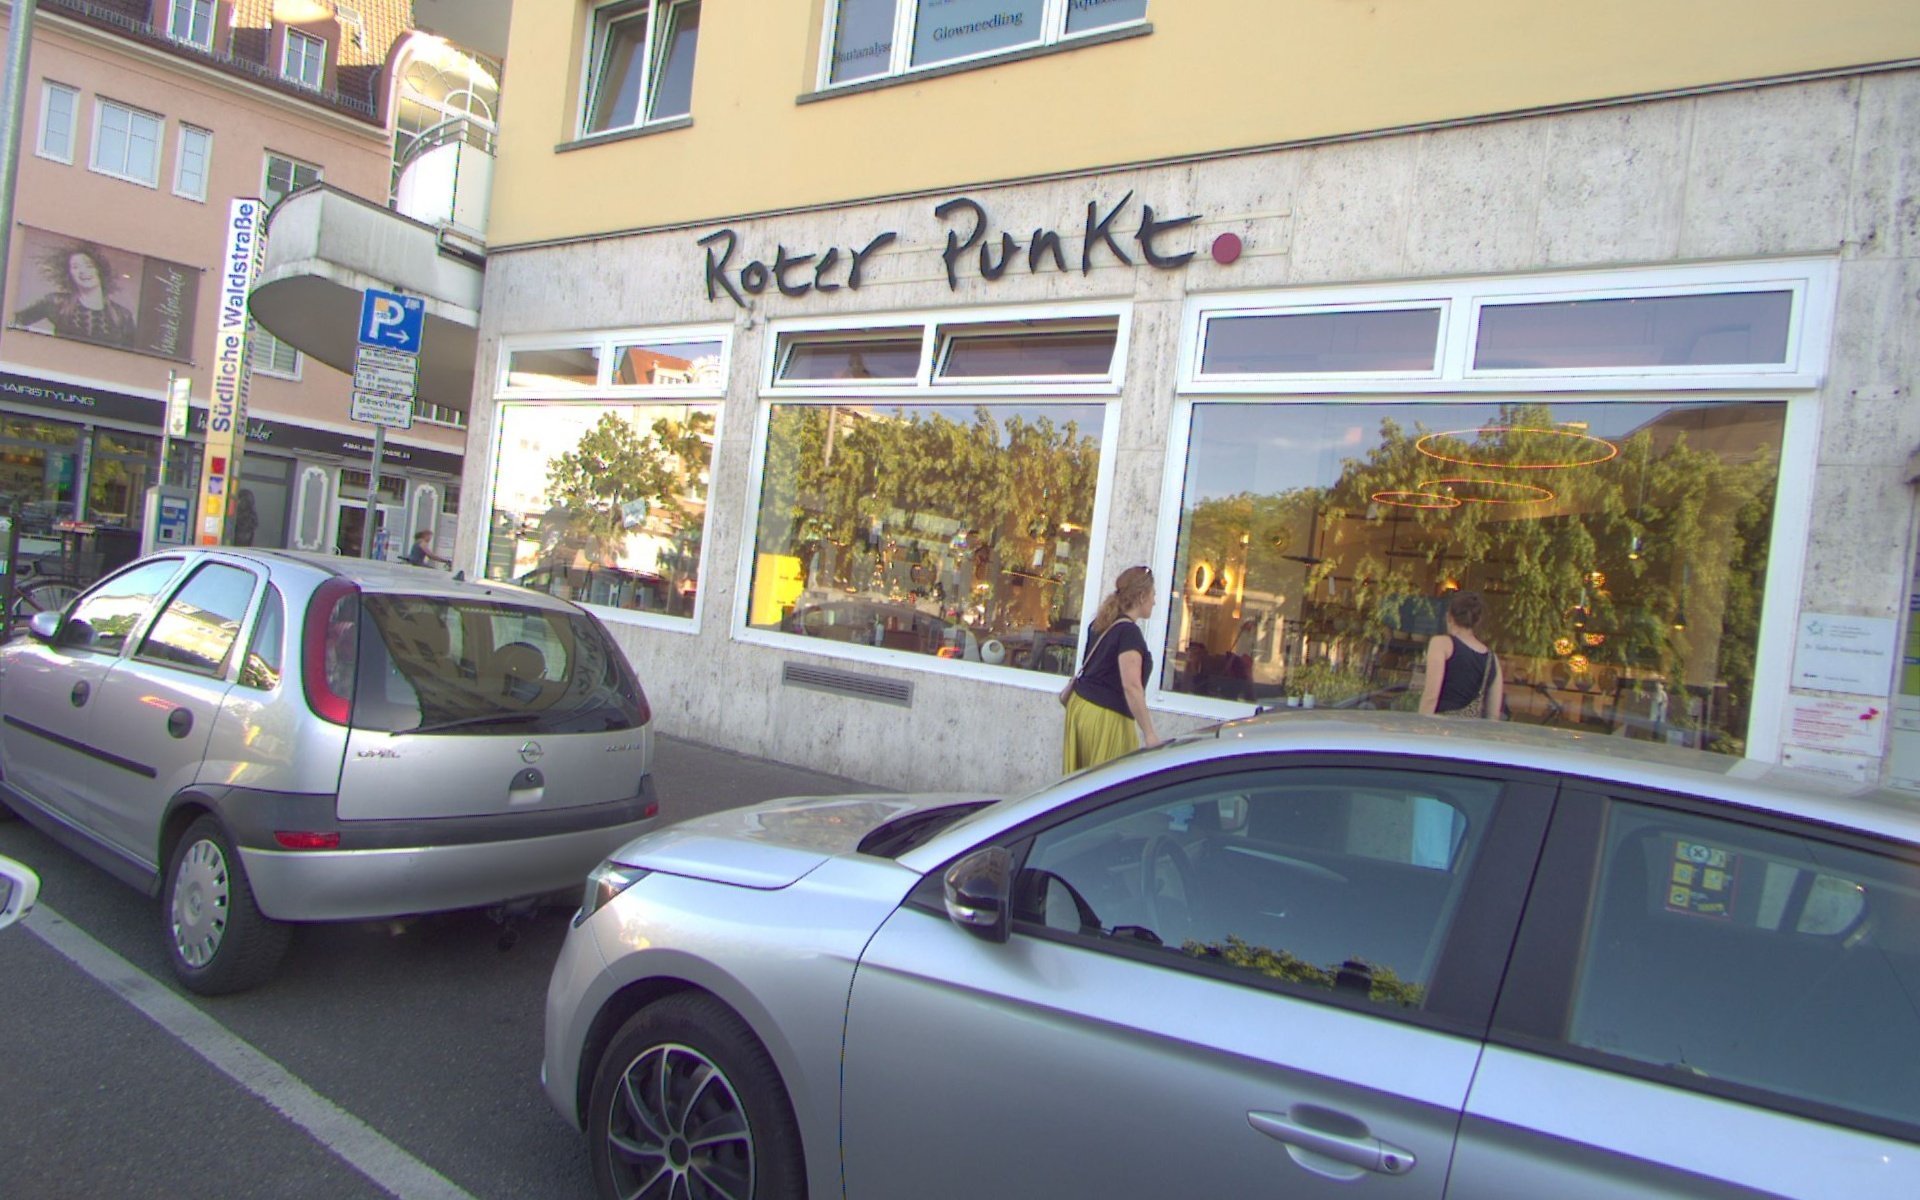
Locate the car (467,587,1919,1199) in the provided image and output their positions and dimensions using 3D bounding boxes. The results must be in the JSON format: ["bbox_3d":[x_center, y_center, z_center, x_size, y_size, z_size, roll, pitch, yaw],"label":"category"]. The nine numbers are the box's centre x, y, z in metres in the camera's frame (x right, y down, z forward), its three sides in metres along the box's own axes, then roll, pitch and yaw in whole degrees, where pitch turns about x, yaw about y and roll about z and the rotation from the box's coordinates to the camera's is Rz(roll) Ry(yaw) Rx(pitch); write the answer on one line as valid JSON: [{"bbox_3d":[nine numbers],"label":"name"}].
[{"bbox_3d":[0.775,0.924,2.276,3.598,1.444,1.550,6,-1,30],"label":"car"}]

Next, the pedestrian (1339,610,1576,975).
[{"bbox_3d":[2.497,0.932,5.109,0.648,1.685,0.646,7,0,-10],"label":"pedestrian"}]

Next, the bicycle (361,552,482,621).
[{"bbox_3d":[-10.835,-0.253,20.285,0.700,1.131,1.930,6,-1,44],"label":"bicycle"}]

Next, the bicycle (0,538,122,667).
[{"bbox_3d":[-8.111,-0.001,8.212,0.348,1.051,1.871,6,1,38],"label":"bicycle"}]

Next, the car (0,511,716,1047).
[{"bbox_3d":[-2.926,0.481,4.431,3.420,1.407,1.548,6,-1,33],"label":"car"}]

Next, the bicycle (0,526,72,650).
[{"bbox_3d":[-9.085,-0.148,8.805,0.408,1.101,1.872,6,1,35],"label":"bicycle"}]

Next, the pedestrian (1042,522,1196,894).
[{"bbox_3d":[0.830,0.552,5.427,0.557,1.805,0.743,7,0,5],"label":"pedestrian"}]

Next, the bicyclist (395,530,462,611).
[{"bbox_3d":[-10.737,-0.592,20.318,0.692,1.500,0.889,6,-1,44],"label":"bicyclist"}]
